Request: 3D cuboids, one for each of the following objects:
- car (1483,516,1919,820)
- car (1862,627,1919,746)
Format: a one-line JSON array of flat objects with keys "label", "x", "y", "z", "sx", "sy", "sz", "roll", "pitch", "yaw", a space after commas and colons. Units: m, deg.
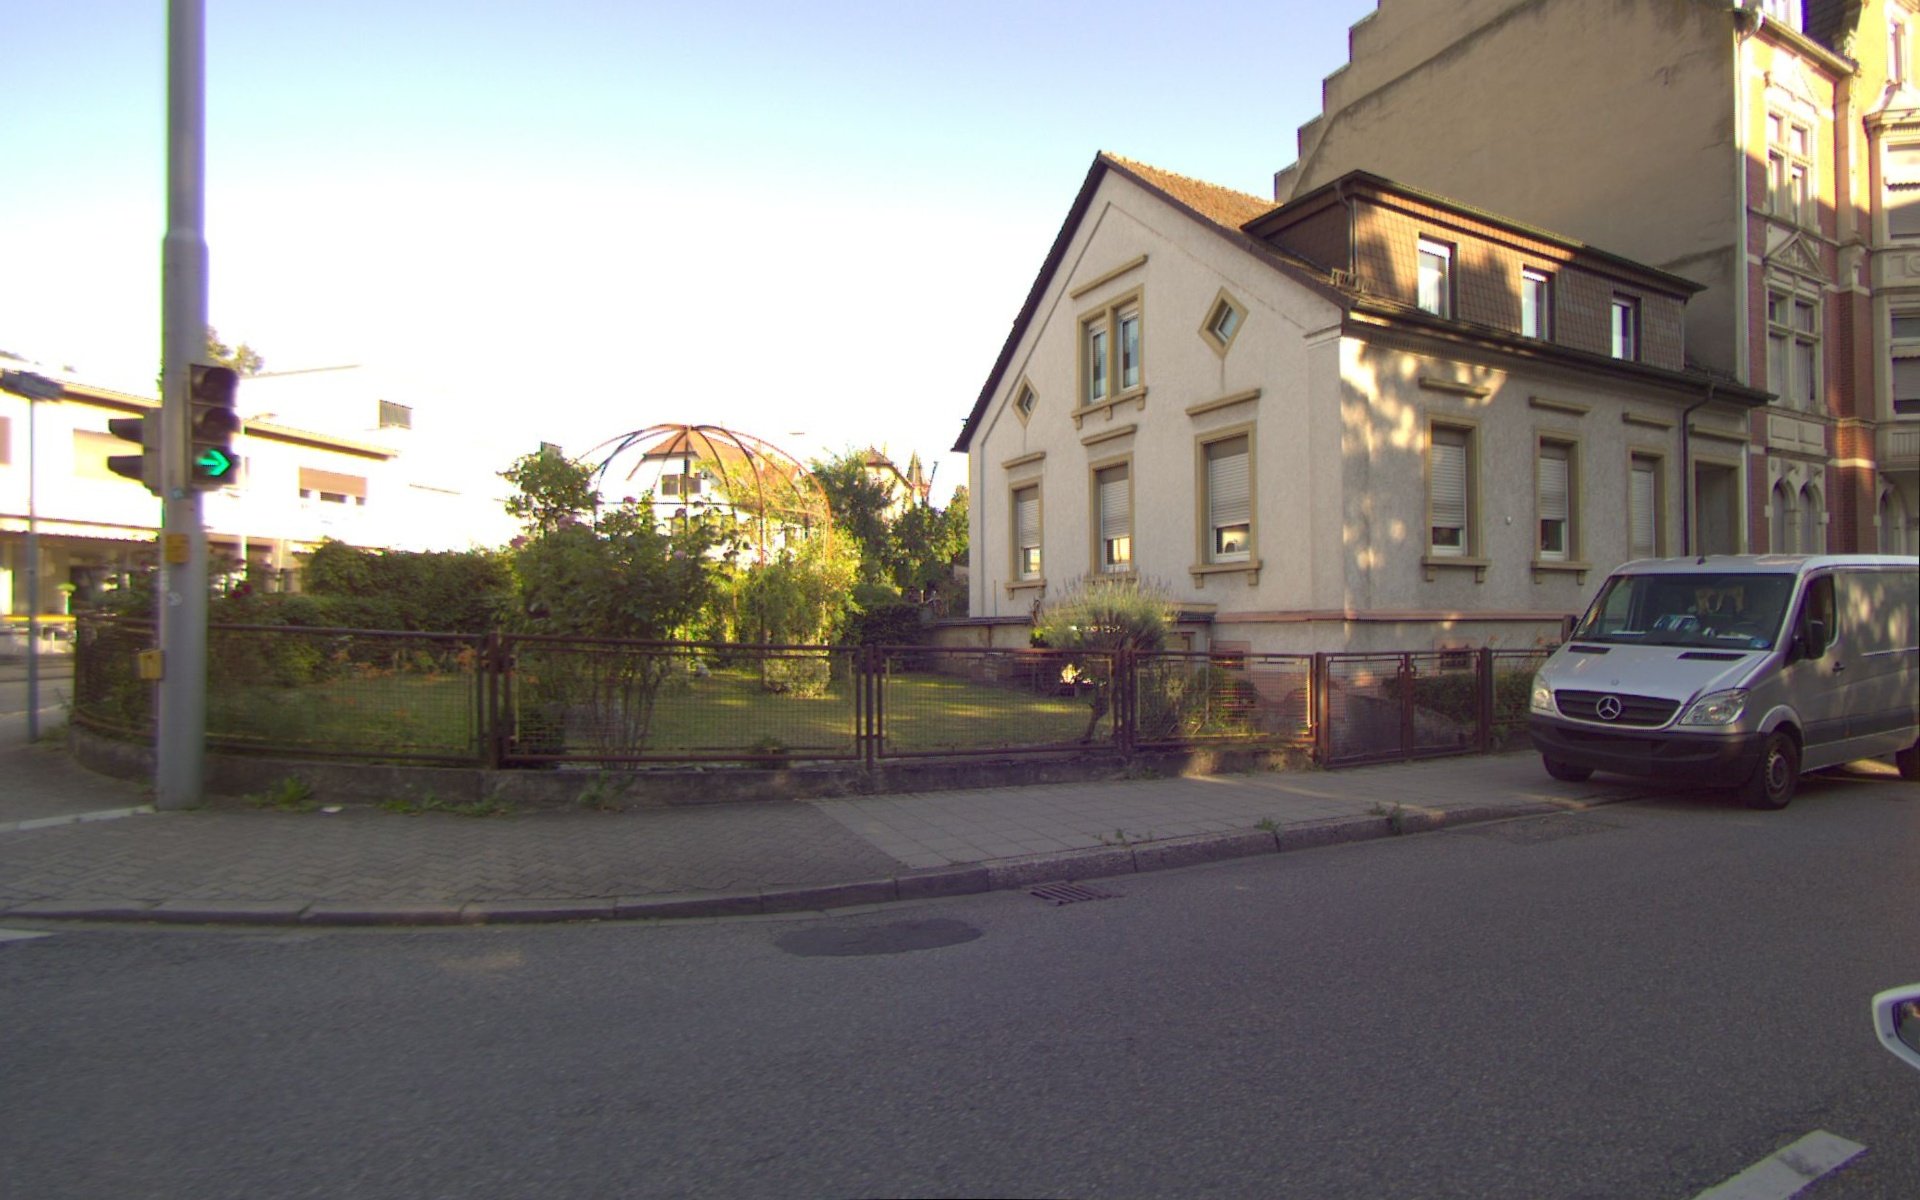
[{"label": "car", "x": 8.330, "y": 0.598, "z": 10.603, "sx": 5.940, "sy": 2.493, "sz": 2.059, "roll": 1, "pitch": 0, "yaw": -29}, {"label": "car", "x": 14.226, "y": 1.158, "z": 13.780, "sx": 3.778, "sy": 1.523, "sz": 1.694, "roll": 1, "pitch": 0, "yaw": -31}]
